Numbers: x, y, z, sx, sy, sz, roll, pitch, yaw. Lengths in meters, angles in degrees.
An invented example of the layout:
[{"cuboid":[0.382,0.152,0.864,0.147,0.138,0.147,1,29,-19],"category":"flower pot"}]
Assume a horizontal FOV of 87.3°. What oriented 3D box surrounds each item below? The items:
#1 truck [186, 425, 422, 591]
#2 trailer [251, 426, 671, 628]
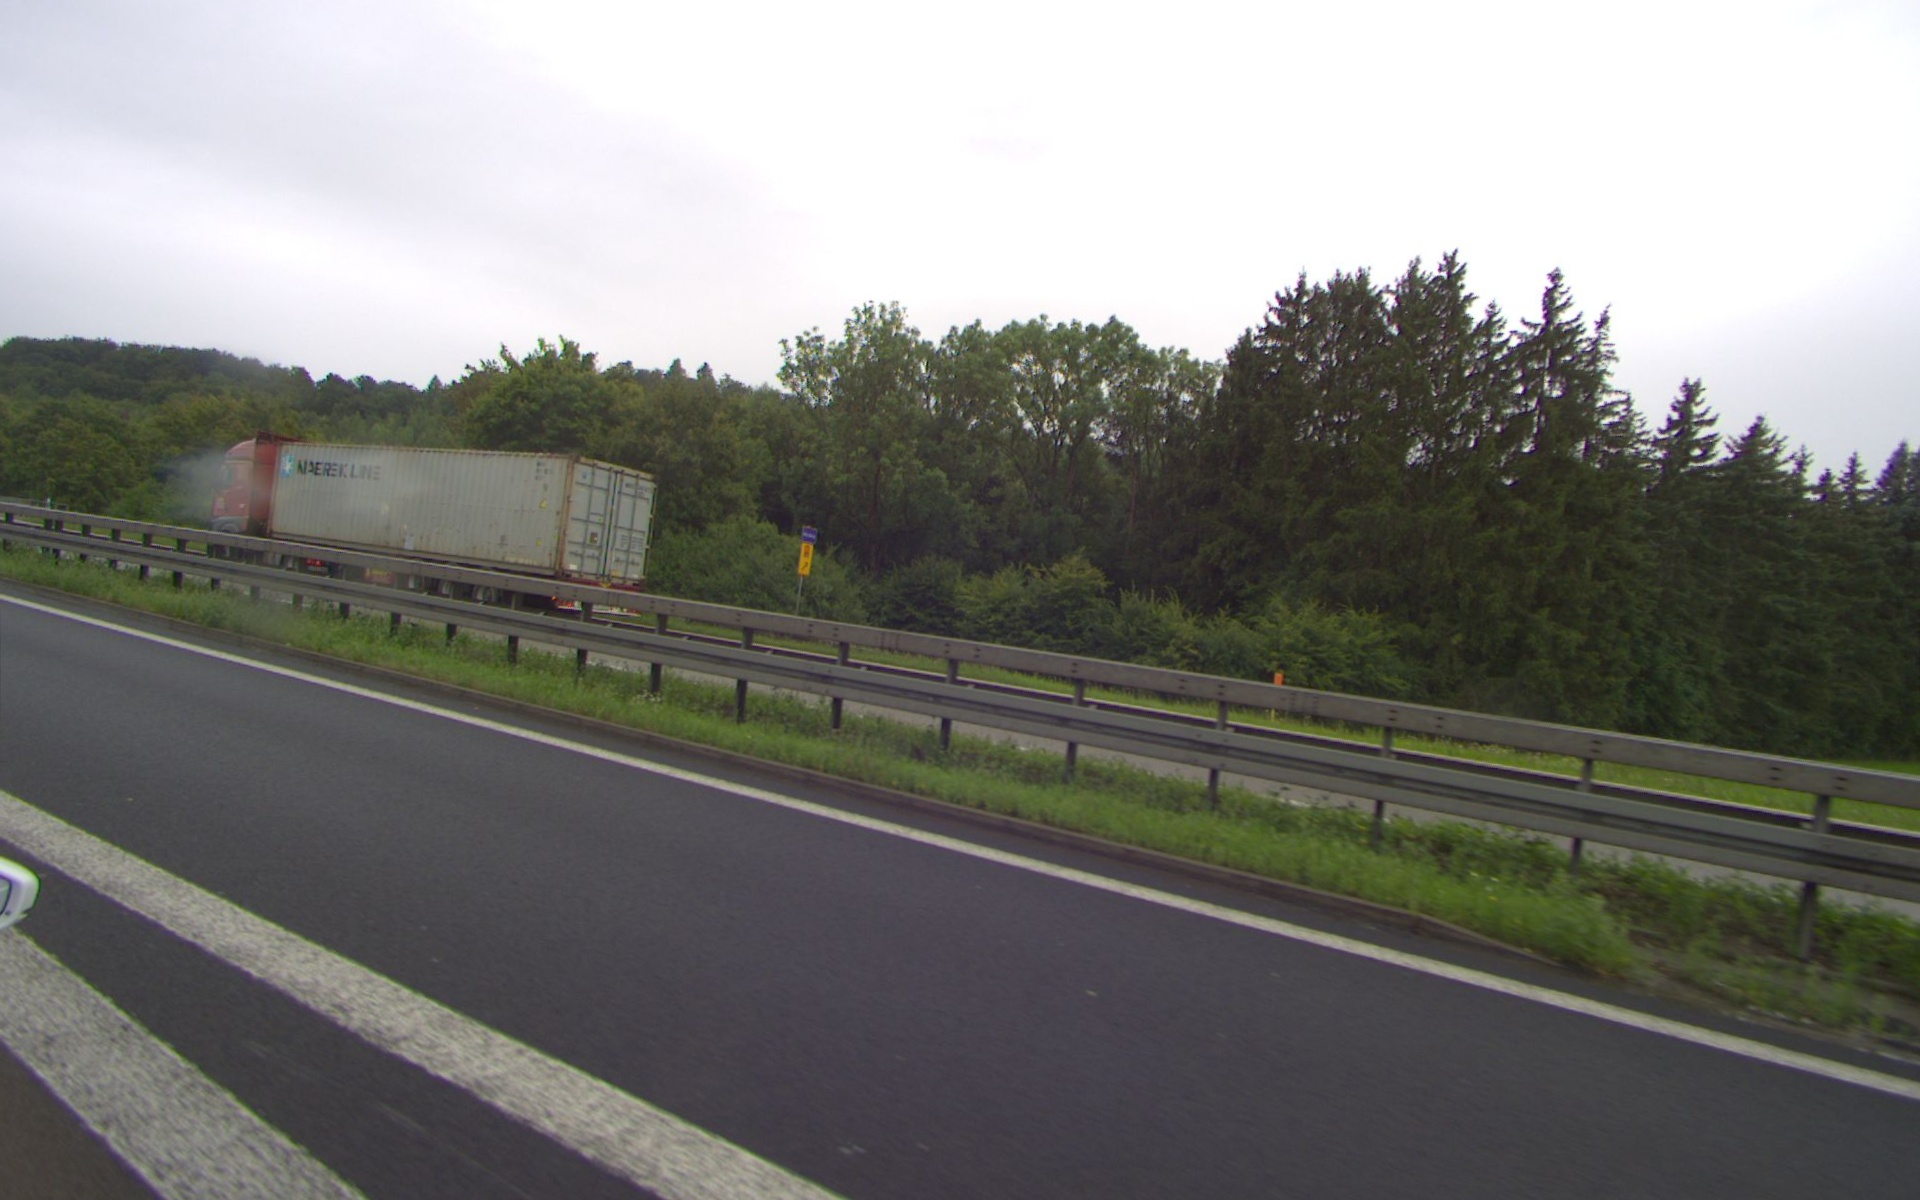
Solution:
[{"cuboid":[-18.592,-2.628,28.447,6.282,3.930,2.622,7,-1,29],"category":"truck"},{"cuboid":[-12.943,-2.017,25.321,12.276,3.940,2.610,6,-1,29],"category":"trailer"}]
